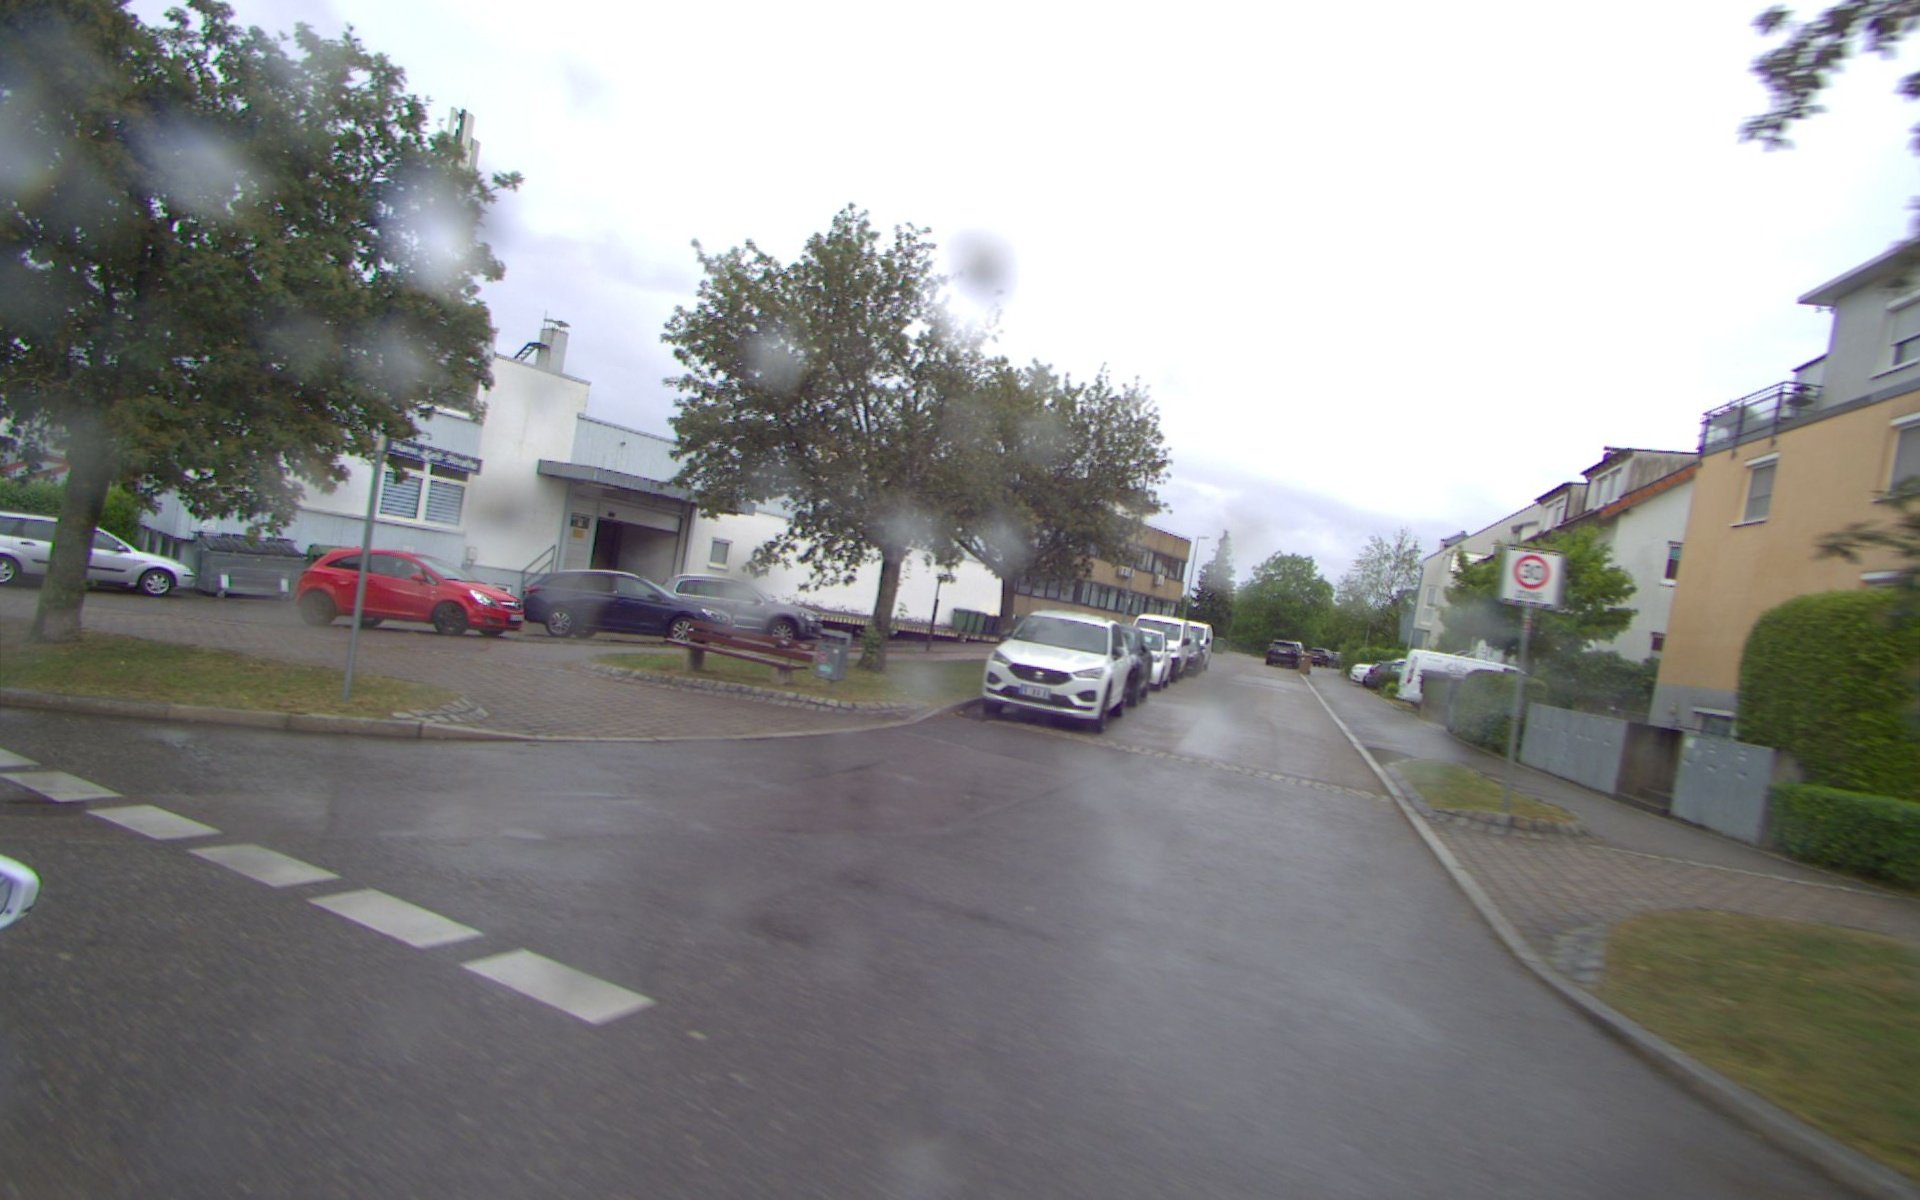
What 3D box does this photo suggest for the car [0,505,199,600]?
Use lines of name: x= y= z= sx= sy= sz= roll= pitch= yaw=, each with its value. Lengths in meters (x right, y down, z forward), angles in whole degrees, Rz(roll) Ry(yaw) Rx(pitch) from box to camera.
car: x=-19.162 y=-1.048 z=21.400 sx=1.829 sy=1.603 sz=4.316 roll=5 pitch=-2 yaw=34

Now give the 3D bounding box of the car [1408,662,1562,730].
car: x=15.427 y=2.802 z=29.736 sx=3.613 sy=1.433 sz=1.723 roll=6 pitch=0 yaw=15

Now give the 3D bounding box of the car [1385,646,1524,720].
car: x=16.867 y=2.790 z=34.502 sx=3.816 sy=1.987 sz=1.735 roll=6 pitch=1 yaw=15

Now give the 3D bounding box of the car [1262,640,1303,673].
car: x=20.136 y=3.502 z=62.668 sx=1.897 sy=1.721 sz=3.997 roll=7 pitch=0 yaw=24

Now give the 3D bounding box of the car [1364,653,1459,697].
car: x=20.257 y=3.355 z=45.294 sx=3.590 sy=1.490 sz=1.716 roll=6 pitch=0 yaw=17

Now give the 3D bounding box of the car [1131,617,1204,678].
car: x=7.296 y=1.674 z=35.075 sx=1.919 sy=1.752 sz=4.023 roll=8 pitch=-1 yaw=17

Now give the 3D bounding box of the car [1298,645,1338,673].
car: x=29.224 y=4.849 z=82.063 sx=2.158 sy=1.897 sz=3.994 roll=7 pitch=-1 yaw=31

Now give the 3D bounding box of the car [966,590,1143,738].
car: x=1.695 y=0.931 z=16.187 sx=1.910 sy=1.837 sz=4.715 roll=6 pitch=0 yaw=15

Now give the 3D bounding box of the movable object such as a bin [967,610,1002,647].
movable object such as a bin: x=1.263 y=1.442 z=50.786 sx=0.535 sy=1.682 sz=1.982 roll=6 pitch=-1 yaw=38

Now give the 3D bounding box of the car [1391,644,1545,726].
car: x=16.178 y=2.654 z=32.278 sx=3.924 sy=2.039 sz=2.000 roll=6 pitch=1 yaw=17

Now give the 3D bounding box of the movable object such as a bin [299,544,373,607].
movable object such as a bin: x=-16.537 y=-0.646 z=26.659 sx=1.013 sy=1.514 sz=1.304 roll=6 pitch=1 yaw=37

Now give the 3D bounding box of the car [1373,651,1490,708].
car: x=18.361 y=3.076 z=39.350 sx=3.703 sy=1.670 sz=1.784 roll=6 pitch=1 yaw=13

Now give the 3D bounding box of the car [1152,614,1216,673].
car: x=9.052 y=1.779 z=40.404 sx=1.919 sy=1.993 sz=4.161 roll=8 pitch=-1 yaw=18

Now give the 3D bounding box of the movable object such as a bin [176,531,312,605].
movable object such as a bin: x=-17.675 y=-0.777 z=24.877 sx=1.707 sy=1.522 sz=2.265 roll=6 pitch=0 yaw=37

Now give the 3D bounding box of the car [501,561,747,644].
car: x=-7.244 y=0.083 z=22.050 sx=4.741 sy=1.604 sz=1.859 roll=2 pitch=-1 yaw=-3

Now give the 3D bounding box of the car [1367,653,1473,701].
car: x=19.225 y=3.189 z=42.216 sx=3.732 sy=1.477 sz=1.744 roll=6 pitch=0 yaw=20

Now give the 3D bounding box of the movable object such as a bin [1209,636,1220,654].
movable object such as a bin: x=18.415 y=3.254 z=72.712 sx=0.642 sy=1.219 sz=0.927 roll=6 pitch=-1 yaw=15

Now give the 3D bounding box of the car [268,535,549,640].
car: x=-10.358 y=-0.196 z=19.114 sx=4.244 sy=1.604 sz=1.860 roll=4 pitch=-1 yaw=2

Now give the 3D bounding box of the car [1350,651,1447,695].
car: x=20.808 y=3.443 z=47.871 sx=3.870 sy=1.513 sz=1.830 roll=6 pitch=0 yaw=15

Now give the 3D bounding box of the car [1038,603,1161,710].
car: x=3.020 y=1.166 z=21.017 sx=1.918 sy=1.752 sz=4.023 roll=8 pitch=-1 yaw=14

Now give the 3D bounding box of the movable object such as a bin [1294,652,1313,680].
movable object such as a bin: x=18.694 y=3.595 z=54.795 sx=0.762 sy=1.412 sz=0.965 roll=6 pitch=-1 yaw=13

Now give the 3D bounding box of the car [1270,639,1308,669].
car: x=22.422 y=3.672 z=68.423 sx=1.870 sy=1.763 sz=3.996 roll=7 pitch=0 yaw=24

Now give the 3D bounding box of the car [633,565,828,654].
car: x=-5.615 y=0.283 z=25.112 sx=4.378 sy=1.818 sz=1.860 roll=4 pitch=-3 yaw=-4

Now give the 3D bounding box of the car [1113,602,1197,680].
car: x=6.088 y=1.304 z=30.995 sx=1.895 sy=1.951 sz=4.426 roll=8 pitch=-1 yaw=17

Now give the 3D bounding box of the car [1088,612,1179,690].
car: x=4.615 y=1.354 z=26.310 sx=1.800 sy=1.688 sz=3.834 roll=6 pitch=-1 yaw=16

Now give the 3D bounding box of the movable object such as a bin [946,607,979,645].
movable object such as a bin: x=0.144 y=1.272 z=49.281 sx=0.535 sy=1.682 sz=1.738 roll=6 pitch=-1 yaw=38
